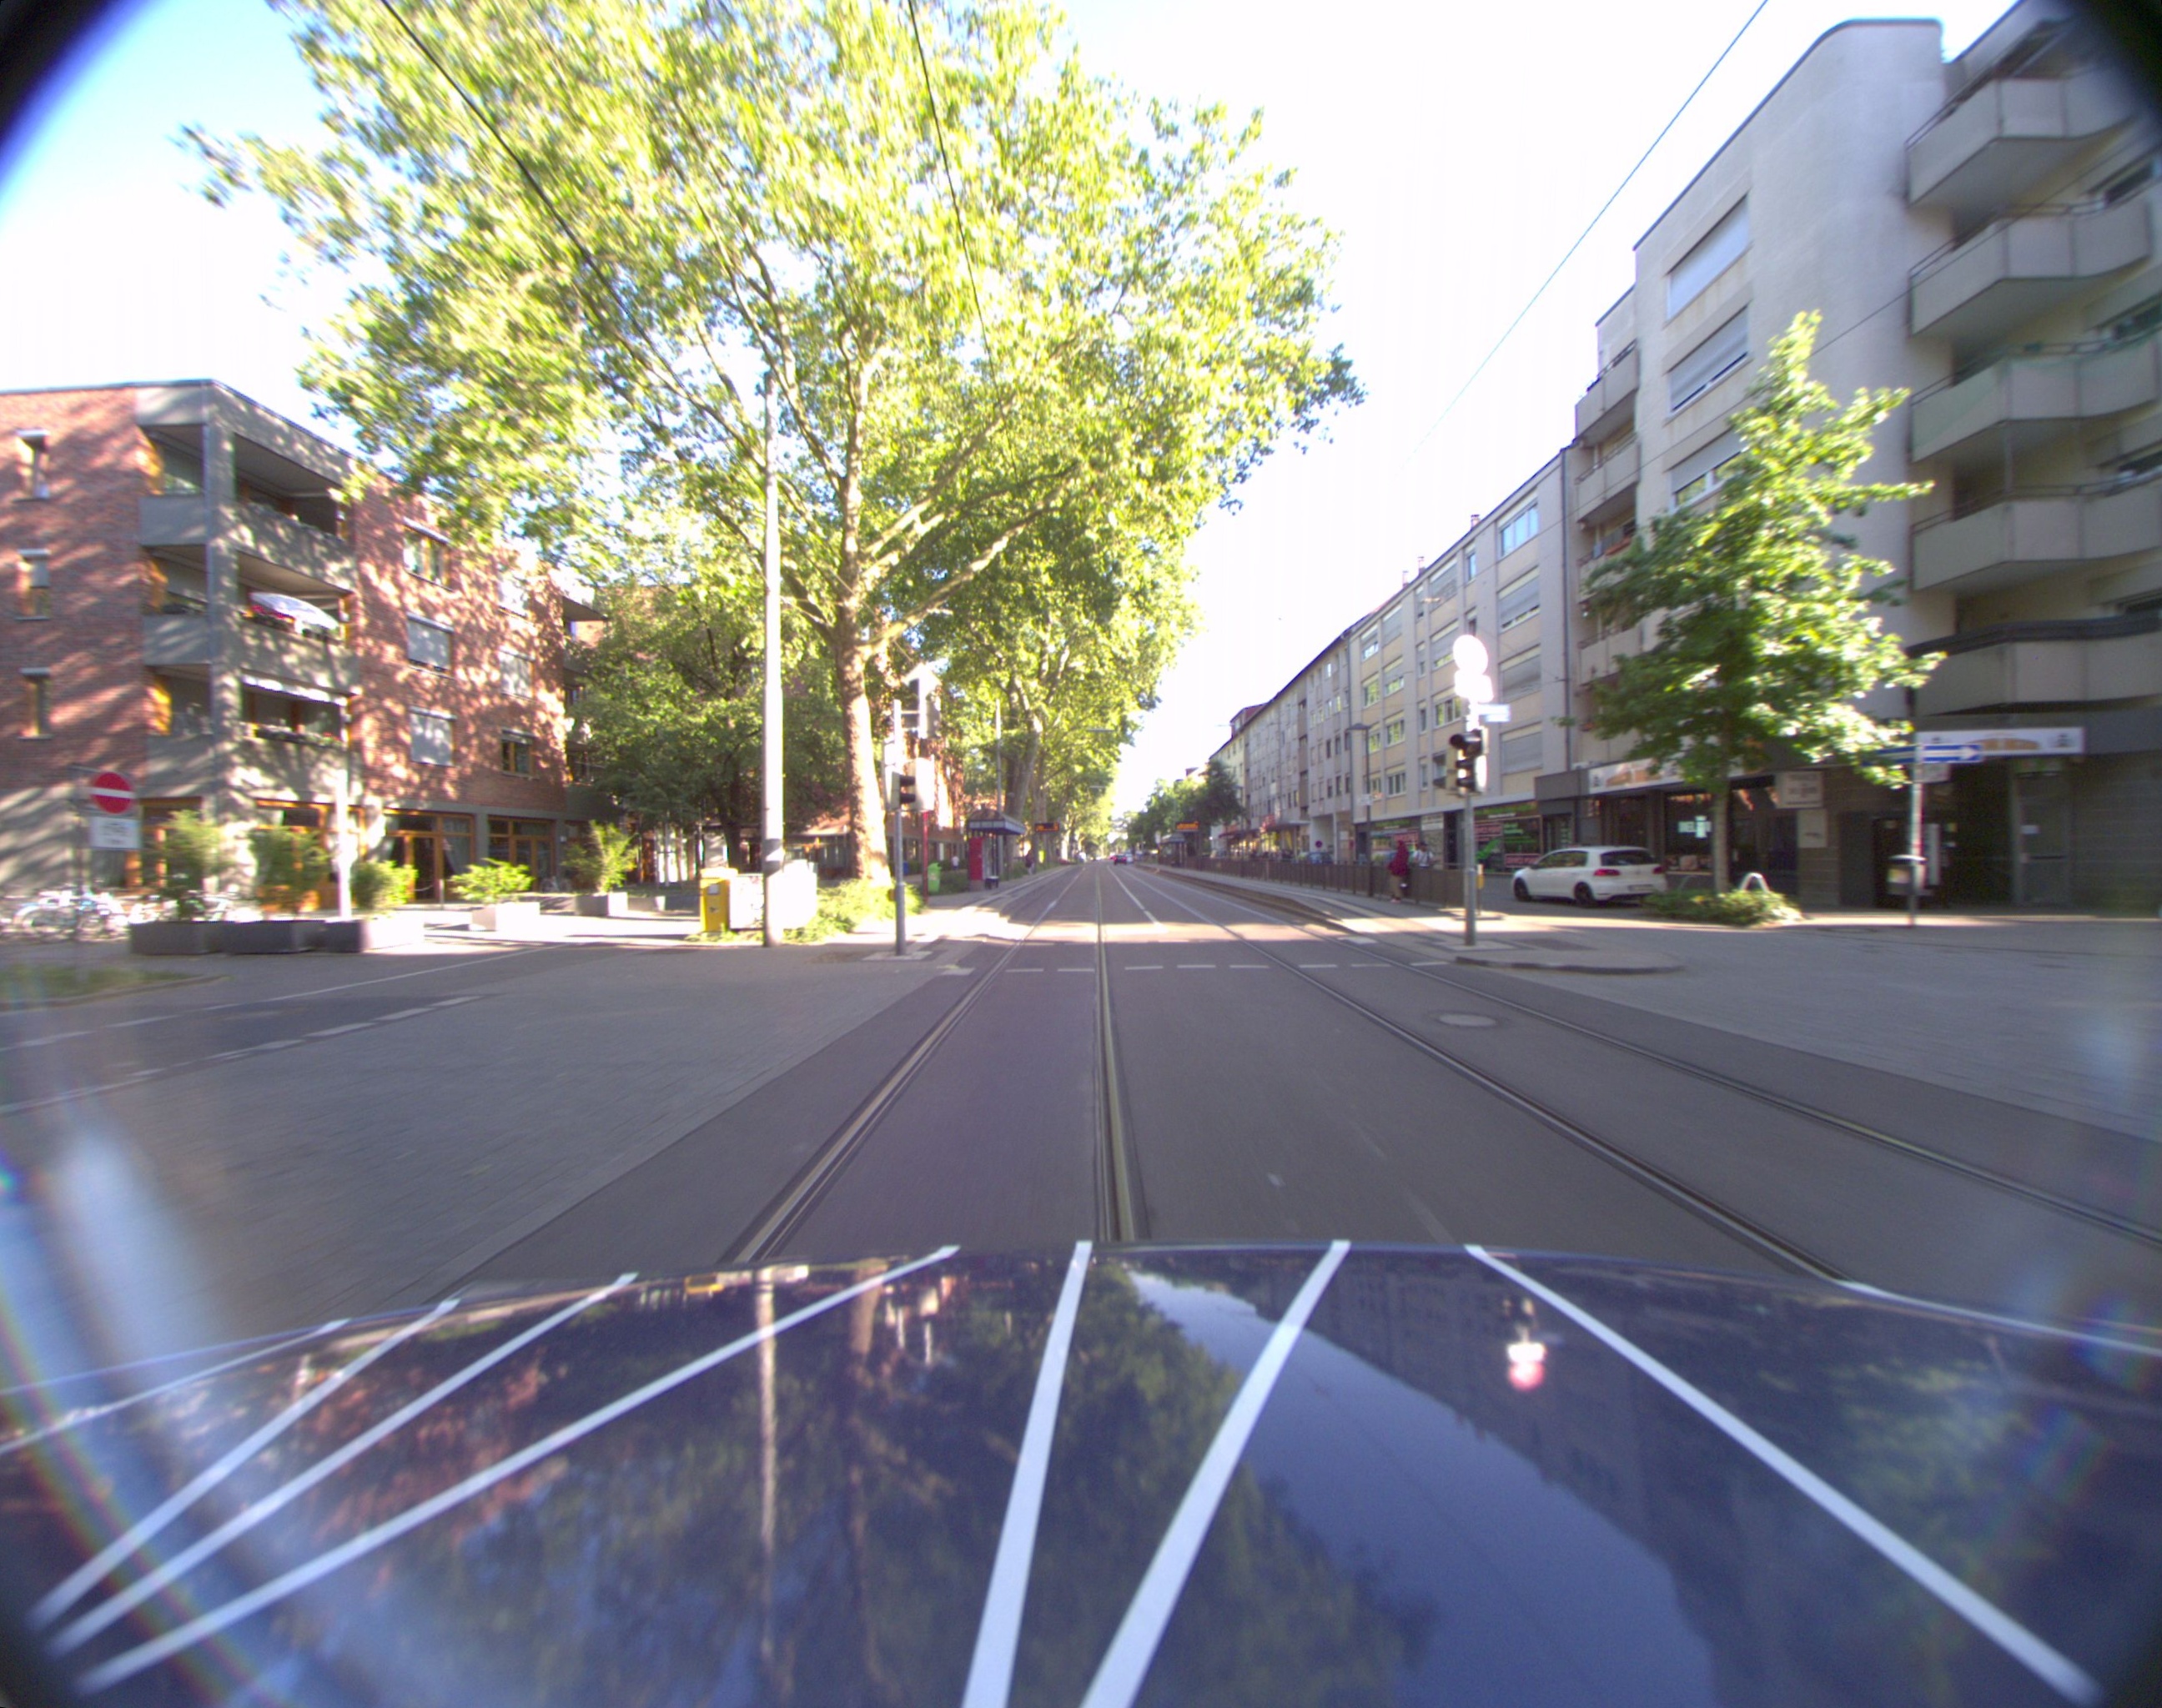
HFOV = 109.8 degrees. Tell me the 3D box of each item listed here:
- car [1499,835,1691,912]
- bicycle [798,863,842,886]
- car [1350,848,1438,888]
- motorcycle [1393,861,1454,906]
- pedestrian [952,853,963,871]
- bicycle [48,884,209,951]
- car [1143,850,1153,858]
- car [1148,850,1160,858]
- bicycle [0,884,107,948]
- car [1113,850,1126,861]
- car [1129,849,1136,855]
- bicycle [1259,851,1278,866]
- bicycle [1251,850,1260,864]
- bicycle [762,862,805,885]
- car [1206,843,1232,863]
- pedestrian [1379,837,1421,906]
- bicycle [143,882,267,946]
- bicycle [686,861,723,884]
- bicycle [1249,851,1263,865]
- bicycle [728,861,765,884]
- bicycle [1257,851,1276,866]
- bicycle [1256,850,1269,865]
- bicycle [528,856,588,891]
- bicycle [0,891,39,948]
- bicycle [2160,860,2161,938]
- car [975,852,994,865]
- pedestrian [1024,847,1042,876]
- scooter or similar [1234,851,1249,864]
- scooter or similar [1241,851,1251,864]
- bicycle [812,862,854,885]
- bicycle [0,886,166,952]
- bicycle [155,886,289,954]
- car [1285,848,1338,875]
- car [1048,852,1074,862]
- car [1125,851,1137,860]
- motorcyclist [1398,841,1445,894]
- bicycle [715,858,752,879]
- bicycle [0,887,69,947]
[{"bbox_3d":[12.835,0.437,19.370,1.882,1.641,4.358,-3,0,0],"label":"car"},{"bbox_3d":[-13.157,1.025,38.356,2.036,1.150,0.572,1,1,2],"label":"bicycle"},{"bbox_3d":[12.914,0.535,31.682,1.961,1.535,4.389,0,0,1],"label":"car"},{"bbox_3d":[9.493,0.787,21.126,0.851,1.157,1.915,-1,0,1],"label":"motorcycle"},{"bbox_3d":[-10.970,0.705,67.692,0.768,1.650,0.917,-1,1,1],"label":"pedestrian"},{"bbox_3d":[-18.926,1.228,15.176,0.637,1.150,1.982,1,1,4],"label":"bicycle"},{"bbox_3d":[13.844,-0.019,156.762,1.998,1.521,3.679,-1,0,4],"label":"car"},{"bbox_3d":[13.564,0.019,141.083,1.998,1.521,3.679,-1,0,4],"label":"car"},{"bbox_3d":[-21.167,1.226,15.325,0.662,1.150,1.851,1,1,0],"label":"bicycle"},{"bbox_3d":[5.742,0.201,113.544,1.766,1.579,4.000,-1,0,0],"label":"car"},{"bbox_3d":[15.492,-0.595,227.447,1.998,1.521,3.678,-1,0,1],"label":"car"},{"bbox_3d":[14.969,0.332,60.671,0.561,1.150,2.028,-1,0,-14],"label":"bicycle"},{"bbox_3d":[15.468,0.254,67.245,0.513,1.150,1.688,-1,0,4],"label":"bicycle"},{"bbox_3d":[-15.339,0.978,39.211,2.035,1.150,0.572,1,1,6],"label":"bicycle"},{"bbox_3d":[13.857,-0.119,76.342,1.808,1.923,4.049,-1,0,0],"label":"car"},{"bbox_3d":[7.499,0.405,17.871,0.655,1.576,0.772,-1,1,2],"label":"pedestrian"},{"bbox_3d":[-17.674,1.179,15.385,0.601,1.150,1.697,1,1,-3],"label":"bicycle"},{"bbox_3d":[-20.471,0.991,41.353,0.707,1.150,2.039,1,1,11],"label":"bicycle"},{"bbox_3d":[14.909,0.359,64.757,0.572,1.150,2.037,-1,0,-4],"label":"bicycle"},{"bbox_3d":[-17.306,0.975,39.298,1.681,1.150,0.572,1,1,6],"label":"bicycle"},{"bbox_3d":[14.716,0.347,60.306,0.561,1.150,2.028,-1,0,-14],"label":"bicycle"},{"bbox_3d":[15.009,0.278,62.824,0.494,1.150,1.751,-1,0,-4],"label":"bicycle"},{"bbox_3d":[-17.644,0.644,25.636,1.930,1.150,0.573,1,1,17],"label":"bicycle"},{"bbox_3d":[-22.747,1.375,15.480,0.662,1.150,1.697,1,1,0],"label":"bicycle"},{"bbox_3d":[17.076,0.653,11.380,2.040,1.150,0.571,-1,1,-21],"label":"bicycle"},{"bbox_3d":[-11.318,0.550,89.188,1.657,1.499,3.961,-1,0,1],"label":"car"},{"bbox_3d":[-2.806,0.413,44.279,0.769,1.650,0.915,-1,1,-22],"label":"pedestrian"},{"bbox_3d":[14.362,0.283,68.029,0.447,1.167,1.272,-1,1,-35],"label":"scooter or similar"},{"bbox_3d":[14.473,0.285,66.709,0.446,1.167,1.274,-1,0,-4],"label":"scooter or similar"},{"bbox_3d":[-12.808,0.986,39.227,2.034,1.150,0.572,1,1,11],"label":"bicycle"},{"bbox_3d":[-20.215,1.280,15.437,0.732,1.150,2.051,1,1,1],"label":"bicycle"},{"bbox_3d":[-16.585,1.235,14.736,0.601,1.150,1.698,1,1,4],"label":"bicycle"},{"bbox_3d":[12.949,0.375,42.951,1.799,1.455,4.282,0,0,1],"label":"car"},{"bbox_3d":[-3.127,0.430,118.620,3.872,1.521,2.000,-1,0,2],"label":"car"},{"bbox_3d":[8.441,0.292,127.923,1.766,1.417,4.000,-1,0,1],"label":"car"},{"bbox_3d":[9.474,0.374,21.174,0.875,1.432,1.016,-1,1,1],"label":"motorcyclist"},{"bbox_3d":[-20.220,0.833,44.207,1.953,1.150,0.732,0,1,-24],"label":"bicycle"},{"bbox_3d":[-22.021,1.281,15.424,0.662,1.150,1.697,1,1,0],"label":"bicycle"}]
